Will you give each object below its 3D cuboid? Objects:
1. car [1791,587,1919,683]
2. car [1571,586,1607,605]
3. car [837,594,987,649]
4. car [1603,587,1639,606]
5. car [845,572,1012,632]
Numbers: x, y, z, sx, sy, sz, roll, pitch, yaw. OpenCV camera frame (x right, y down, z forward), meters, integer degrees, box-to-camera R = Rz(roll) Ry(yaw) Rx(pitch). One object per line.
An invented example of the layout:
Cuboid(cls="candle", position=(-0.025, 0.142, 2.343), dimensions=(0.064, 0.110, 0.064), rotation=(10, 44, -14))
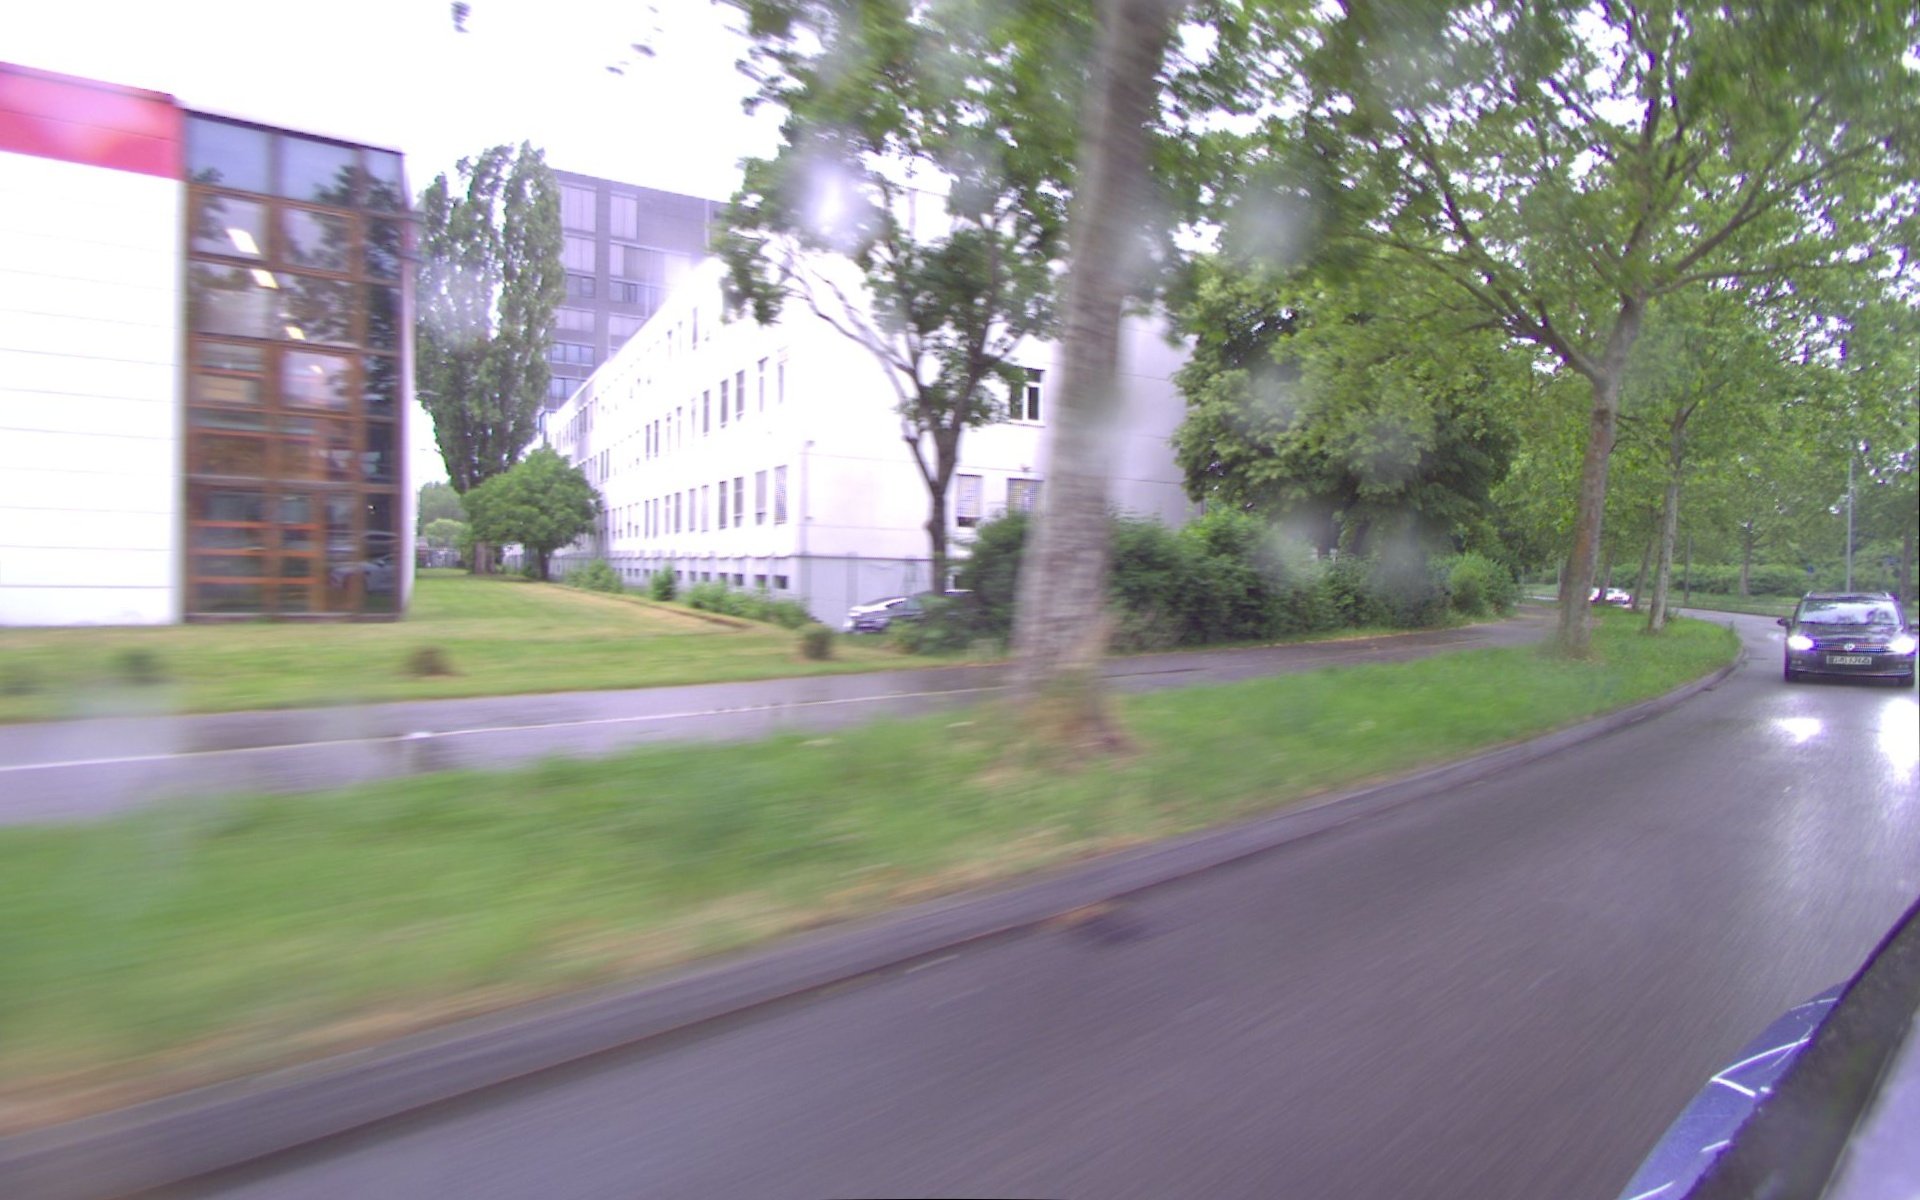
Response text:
Cuboid(cls="car", position=(16.868, 0.558, 18.916), dimensions=(1.779, 1.575, 3.938), rotation=(2, 2, 43))
Cuboid(cls="car", position=(52.789, -0.413, 84.988), dimensions=(1.764, 1.575, 3.972), rotation=(1, 1, 21))
Cuboid(cls="car", position=(-1.401, 0.593, 29.664), dimensions=(4.027, 1.494, 1.788), rotation=(0, 1, -25))
Cuboid(cls="car", position=(58.854, -0.336, 90.152), dimensions=(1.763, 1.575, 3.975), rotation=(1, 1, 19))
Cuboid(cls="car", position=(-0.833, 0.040, 26.746), dimensions=(4.027, 1.494, 1.788), rotation=(0, 1, -25))
